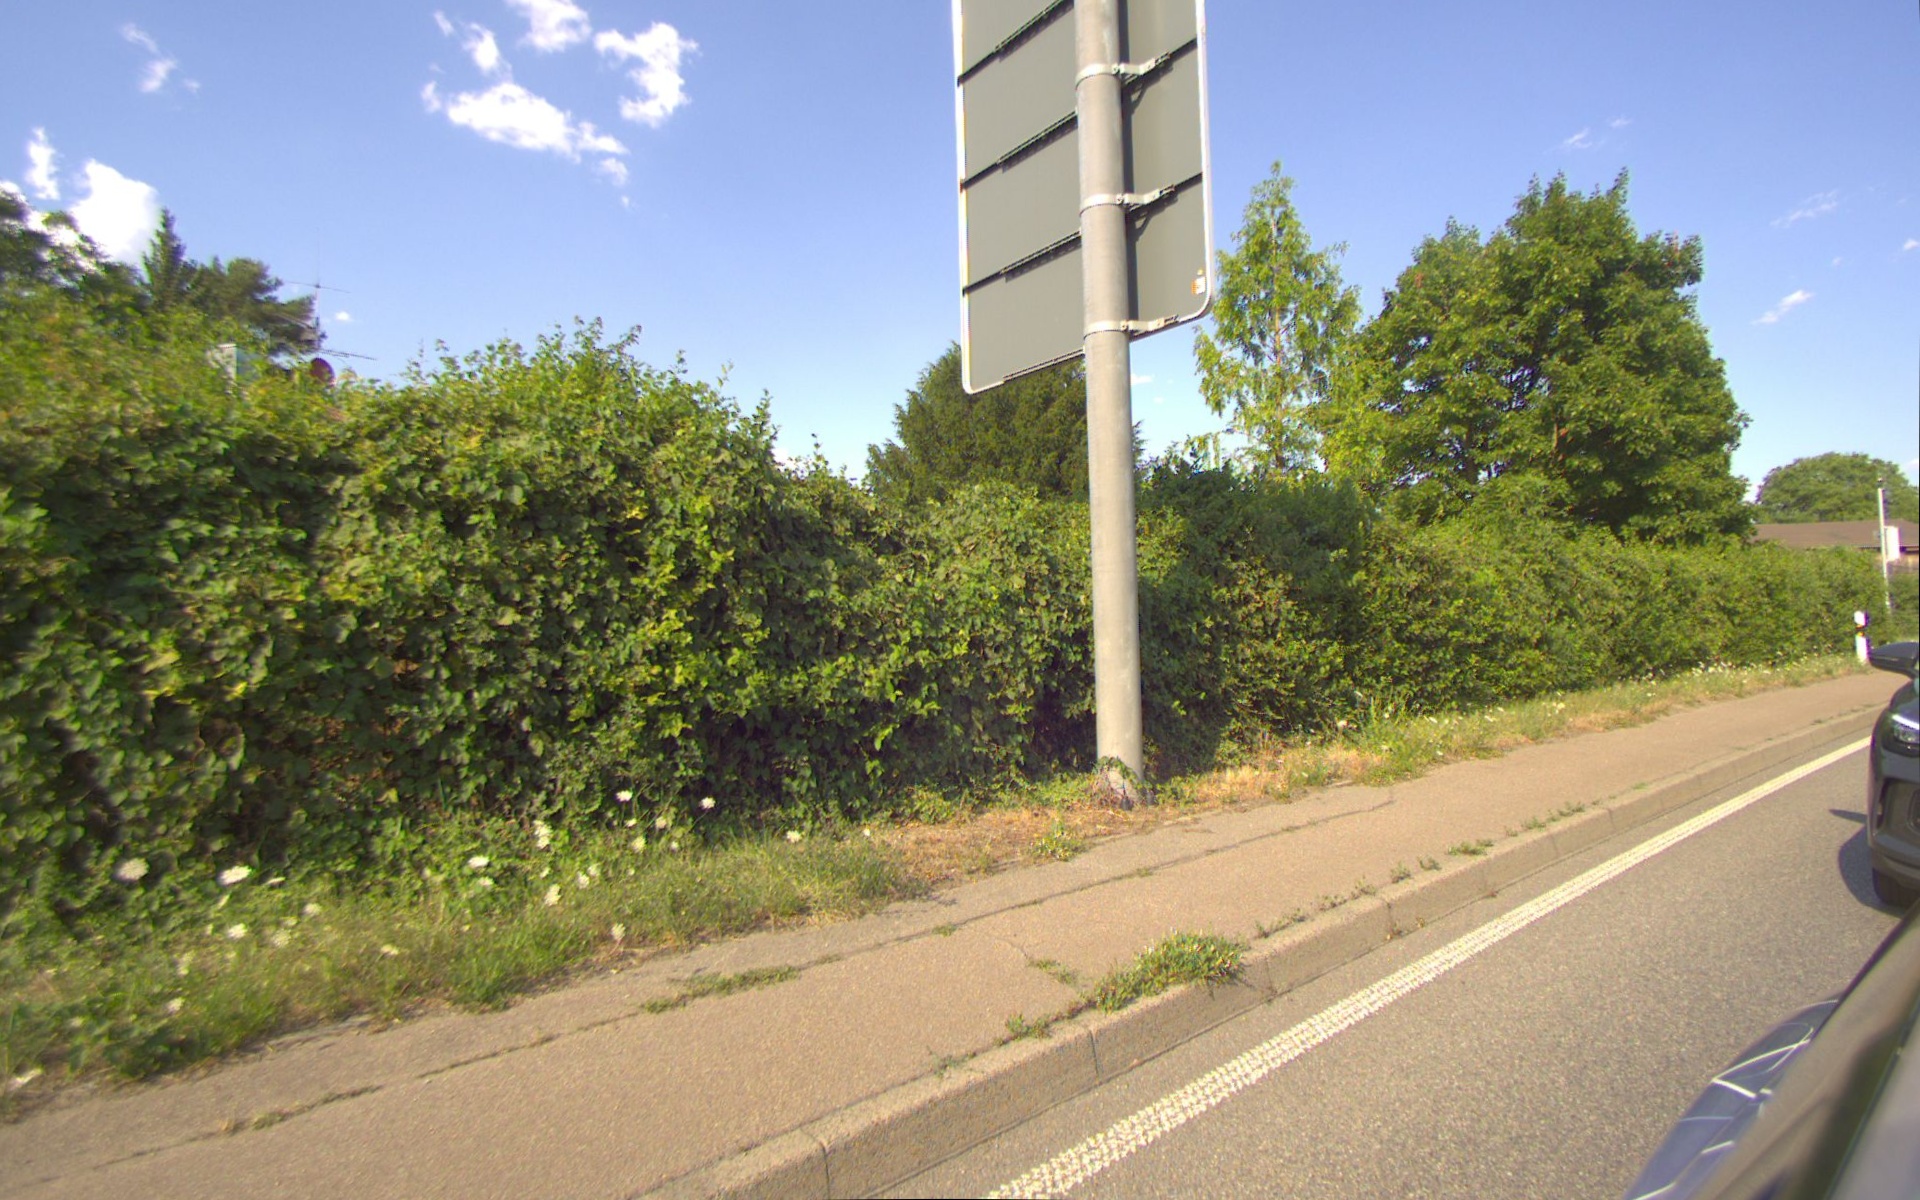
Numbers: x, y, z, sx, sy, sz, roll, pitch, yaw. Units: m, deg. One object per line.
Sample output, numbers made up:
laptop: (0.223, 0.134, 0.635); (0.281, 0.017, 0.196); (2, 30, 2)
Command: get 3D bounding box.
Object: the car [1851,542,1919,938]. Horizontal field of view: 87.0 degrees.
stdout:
car: (5.961, 0.555, 4.982); (3.931, 1.662, 1.864); (-2, 2, -41)
